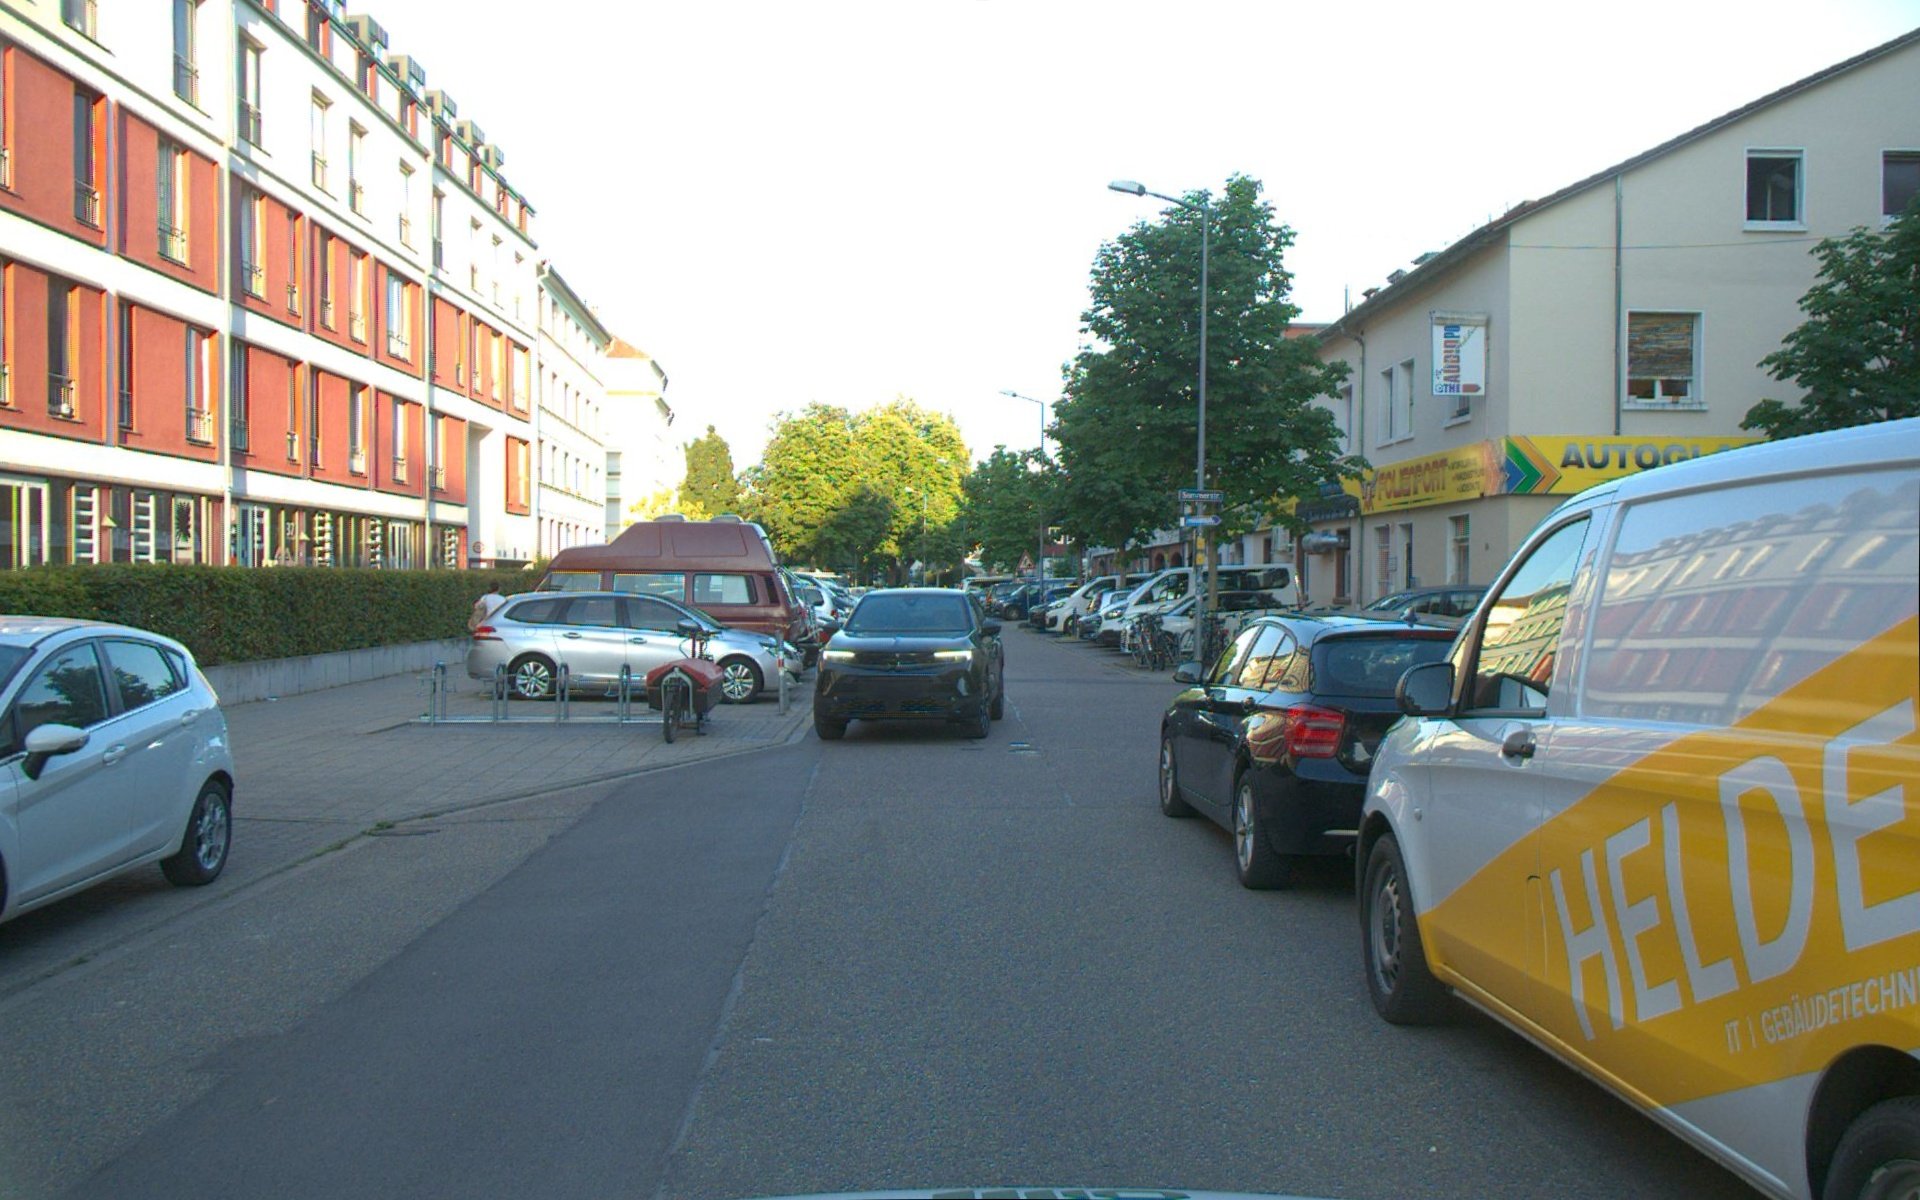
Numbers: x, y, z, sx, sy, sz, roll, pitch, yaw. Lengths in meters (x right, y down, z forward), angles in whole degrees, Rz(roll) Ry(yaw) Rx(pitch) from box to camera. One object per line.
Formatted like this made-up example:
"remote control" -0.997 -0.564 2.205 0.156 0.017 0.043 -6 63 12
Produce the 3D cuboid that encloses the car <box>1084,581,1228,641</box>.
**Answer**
"car" 5.536 0.299 47.054 3.832 1.552 1.939 -2 0 -1

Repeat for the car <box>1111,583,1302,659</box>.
"car" 5.367 0.434 36.286 3.841 1.476 1.767 -2 1 -4

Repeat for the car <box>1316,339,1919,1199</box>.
"car" 2.479 0.518 4.301 1.855 1.917 5.080 1 1 -2

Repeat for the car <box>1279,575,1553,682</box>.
"car" 7.365 0.436 26.973 3.968 1.540 1.756 -1 2 -1

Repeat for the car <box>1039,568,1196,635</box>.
"car" 5.137 0.048 54.350 4.846 1.992 2.048 -2 0 -3

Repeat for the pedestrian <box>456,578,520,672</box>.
"pedestrian" -7.906 0.405 27.708 0.815 1.527 0.798 1 0 -1

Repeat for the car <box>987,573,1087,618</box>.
"car" 3.534 -0.217 76.728 4.393 1.945 1.686 -2 0 -6

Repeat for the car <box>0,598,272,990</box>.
"car" -4.799 0.793 7.835 1.618 1.557 4.014 1 1 -4

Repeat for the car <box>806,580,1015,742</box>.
"car" -0.423 0.577 18.048 1.742 1.544 4.003 -1 0 6

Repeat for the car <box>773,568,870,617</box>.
"car" -6.555 -0.366 78.747 4.442 2.171 2.000 1 0 -1

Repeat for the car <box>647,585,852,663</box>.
"car" -4.460 0.495 35.487 4.123 1.516 1.849 1 0 -1

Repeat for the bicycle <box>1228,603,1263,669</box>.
"bicycle" 5.526 0.685 32.005 0.378 1.221 1.481 -1 1 -1

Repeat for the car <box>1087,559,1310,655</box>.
"car" 5.571 0.149 39.076 4.888 2.018 2.219 -2 0 -1

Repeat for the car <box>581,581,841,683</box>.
"car" -4.119 0.518 27.886 4.125 1.565 1.790 1 0 -3

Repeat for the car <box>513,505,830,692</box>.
"car" -4.320 -0.031 25.309 4.419 2.629 2.000 1 0 0

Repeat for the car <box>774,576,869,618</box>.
"car" -6.352 -0.154 76.116 4.170 1.780 2.000 1 0 -1

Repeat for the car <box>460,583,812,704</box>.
"car" -4.335 0.567 22.735 4.525 1.485 1.879 1 0 -5

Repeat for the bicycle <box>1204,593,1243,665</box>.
"bicycle" 5.108 0.547 32.152 0.378 1.327 2.017 -1 1 -1

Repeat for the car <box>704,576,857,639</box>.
"car" -5.135 0.215 47.720 4.170 1.681 1.887 1 0 -1

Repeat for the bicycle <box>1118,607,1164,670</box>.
"bicycle" 3.473 0.720 31.902 0.429 1.150 2.014 -1 1 -6

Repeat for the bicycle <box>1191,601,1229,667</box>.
"bicycle" 4.853 0.636 32.137 0.378 1.221 2.017 -1 1 -1

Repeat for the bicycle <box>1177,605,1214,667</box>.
"bicycle" 4.573 0.682 32.145 0.378 1.133 2.017 -1 1 -1

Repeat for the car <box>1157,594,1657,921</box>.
"car" 2.323 0.724 9.765 1.686 1.449 4.252 1 1 -1

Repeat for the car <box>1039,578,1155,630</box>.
"car" 5.277 0.132 64.084 4.231 1.835 1.810 -2 0 -3

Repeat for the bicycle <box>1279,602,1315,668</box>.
"bicycle" 6.513 0.664 31.984 0.346 1.221 1.481 -1 1 -1

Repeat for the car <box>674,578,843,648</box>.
"car" -5.218 0.313 43.363 4.170 1.689 2.000 1 0 -1

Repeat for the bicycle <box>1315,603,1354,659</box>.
"bicycle" 7.260 0.590 32.127 0.380 1.035 1.481 -1 1 -1

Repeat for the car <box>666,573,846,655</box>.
"car" -4.984 0.335 40.896 4.170 1.868 2.000 1 0 -1

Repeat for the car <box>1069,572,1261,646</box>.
"car" 5.441 0.226 44.418 4.843 1.772 2.049 -2 0 -1

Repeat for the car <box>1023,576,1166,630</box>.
"car" 4.772 0.099 59.166 4.846 1.718 2.076 -2 0 -3

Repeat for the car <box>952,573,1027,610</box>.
"car" 1.614 -0.481 92.171 3.892 1.945 2.047 -2 0 -6

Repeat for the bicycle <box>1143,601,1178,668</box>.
"bicycle" 3.877 0.655 32.097 0.378 1.221 2.017 -1 1 -1

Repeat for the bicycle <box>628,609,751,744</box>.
"bicycle" -2.802 0.752 17.473 0.791 1.242 2.865 1 1 0

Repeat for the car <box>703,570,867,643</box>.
"car" -5.267 0.197 50.272 4.752 2.056 1.906 1 0 -2

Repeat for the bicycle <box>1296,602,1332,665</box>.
"bicycle" 6.852 0.639 32.073 0.346 1.163 1.481 -1 1 -1

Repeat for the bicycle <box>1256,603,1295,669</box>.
"bicycle" 6.093 0.680 31.985 0.436 1.221 1.481 -1 1 -1

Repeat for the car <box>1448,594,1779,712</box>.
"car" 8.805 0.687 22.456 3.850 1.480 1.657 0 1 -3

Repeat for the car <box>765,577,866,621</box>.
"car" -6.193 -0.042 71.347 4.170 1.744 2.000 1 0 -1
